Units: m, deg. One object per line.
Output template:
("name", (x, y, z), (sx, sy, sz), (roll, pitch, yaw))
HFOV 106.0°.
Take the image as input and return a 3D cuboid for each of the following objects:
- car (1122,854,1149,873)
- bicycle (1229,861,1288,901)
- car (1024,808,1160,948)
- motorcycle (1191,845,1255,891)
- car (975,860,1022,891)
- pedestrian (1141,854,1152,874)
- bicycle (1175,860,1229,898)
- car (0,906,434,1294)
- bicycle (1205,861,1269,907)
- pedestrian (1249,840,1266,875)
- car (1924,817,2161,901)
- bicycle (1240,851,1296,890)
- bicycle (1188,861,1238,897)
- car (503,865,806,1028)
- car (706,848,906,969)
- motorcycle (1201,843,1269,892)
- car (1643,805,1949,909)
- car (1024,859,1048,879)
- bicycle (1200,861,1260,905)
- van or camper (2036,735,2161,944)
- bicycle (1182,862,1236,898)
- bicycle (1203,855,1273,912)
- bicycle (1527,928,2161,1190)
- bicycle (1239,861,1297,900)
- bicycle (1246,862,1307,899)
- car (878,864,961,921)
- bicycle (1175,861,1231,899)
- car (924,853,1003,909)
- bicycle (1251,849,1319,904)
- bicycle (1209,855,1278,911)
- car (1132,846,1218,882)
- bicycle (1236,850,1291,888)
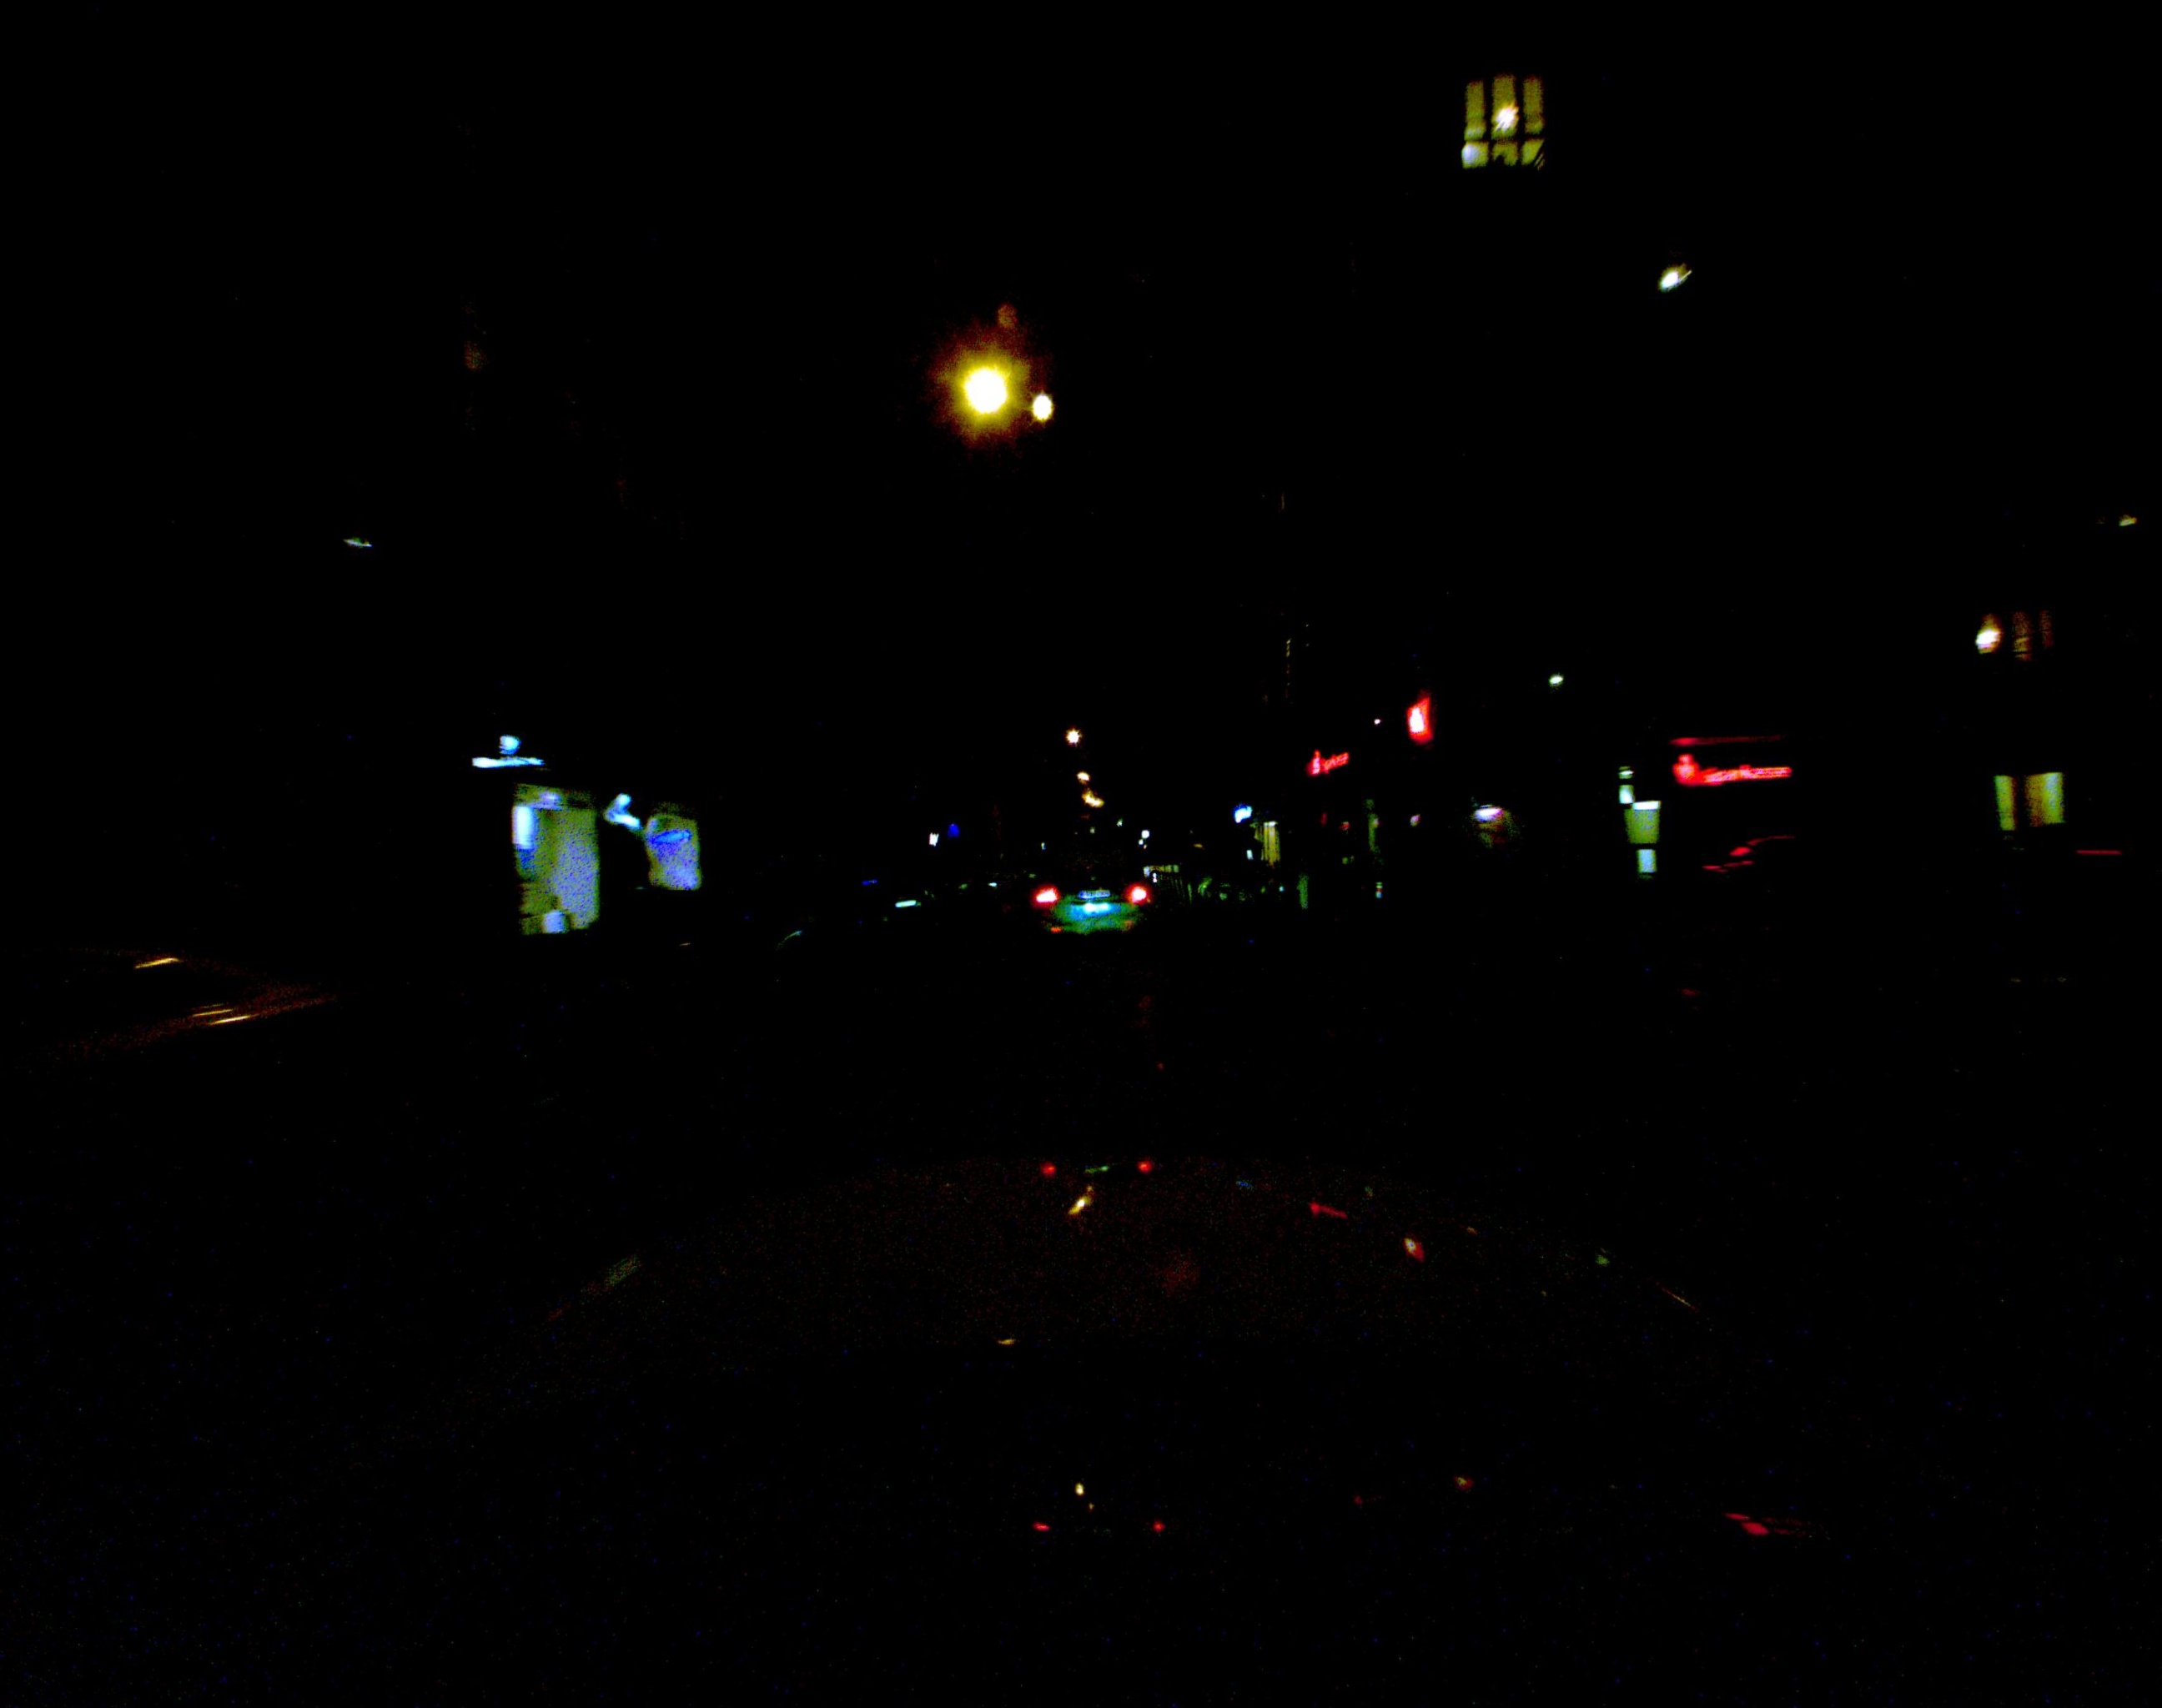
("car", (4.542, 0.799, 68.270), (1.986, 1.464, 4.417), (-3, 0, 1))
("bicycle", (5.117, 0.780, 23.574), (1.522, 0.952, 0.367), (-8, -1, 4))
("car", (0.245, 0.365, 14.769), (1.988, 2.049, 4.696), (-2, 0, 2))
("motorcycle", (5.703, 0.558, 32.760), (2.280, 1.588, 0.867), (-7, -1, 0))
("car", (-4.219, 1.087, 42.474), (1.760, 1.483, 4.774), (1, 0, 2))
("pedestrian", (5.971, 0.902, 73.826), (0.858, 1.788, 1.084), (-4, 1, 4))
("bicycle", (3.774, 0.782, 25.425), (1.525, 0.952, 0.366), (-8, -1, -3))
("car", (-5.139, 1.071, 2.997), (1.720, 1.392, 4.557), (-2, 0, 2))
("bicycle", (4.174, 0.801, 21.830), (1.524, 1.023, 0.366), (-8, -1, -1))
("pedestrian", (9.338, 0.156, 43.072), (0.699, 1.788, 0.625), (-4, 1, 4))
("car", (18.774, 0.075, 15.189), (4.129, 1.434, 1.843), (-1, 0, 2))
("bicycle", (5.697, 0.504, 24.864), (1.526, 0.952, 0.366), (-8, -1, -4))
("bicycle", (4.335, 0.818, 26.773), (1.520, 0.952, 0.367), (-8, -1, 8))
("car", (-5.053, 0.983, 10.309), (1.720, 1.575, 3.721), (-2, 0, 2))
("car", (-4.863, 0.860, 15.253), (1.895, 1.829, 4.831), (-2, 0, 2))
("motorcycle", (5.561, 0.486, 29.550), (2.165, 1.547, 0.867), (-7, -1, 0))
("car", (13.374, 0.057, 15.449), (4.129, 1.770, 1.843), (-1, 0, 2))
("car", (-3.587, 1.184, 65.392), (1.666, 1.491, 3.722), (-1, 0, 1))
("bicycle", (4.237, 0.815, 23.136), (1.522, 1.023, 0.367), (-8, -1, 4))
("van or camper", (15.103, -0.180, 9.455), (5.292, 2.398, 2.121), (0, -1, 4))
("bicycle", (4.307, 0.871, 27.474), (1.660, 0.952, 0.367), (-8, -1, 8))
("bicycle", (3.891, 0.726, 20.251), (1.522, 1.202, 0.366), (-8, -1, 3))
("bicycle", (3.346, 0.828, 3.710), (2.244, 0.894, 0.622), (-4, -1, 30))
("bicycle", (5.592, 0.786, 24.387), (1.525, 0.952, 0.366), (-8, -1, -3))
("bicycle", (5.422, 0.734, 22.671), (1.522, 0.833, 0.326), (-8, -1, 4))
("car", (-4.697, 1.090, 24.216), (1.563, 1.460, 3.721), (-2, 0, 2))
("bicycle", (3.742, 0.785, 24.982), (1.525, 0.952, 0.366), (-8, -1, -3))
("car", (-4.263, 0.925, 30.436), (1.988, 1.829, 5.209), (-2, 0, 2))
("bicycle", (5.286, 0.591, 21.171), (1.524, 1.202, 0.366), (-8, -1, -1))
("bicycle", (4.126, 0.730, 20.700), (1.524, 1.202, 0.366), (-8, -1, -1))
("car", (5.174, 0.552, 45.393), (4.498, 1.530, 1.780), (-6, 0, 0))
("bicycle", (5.697, 0.473, 25.466), (1.525, 0.952, 0.366), (-8, -1, -3))
